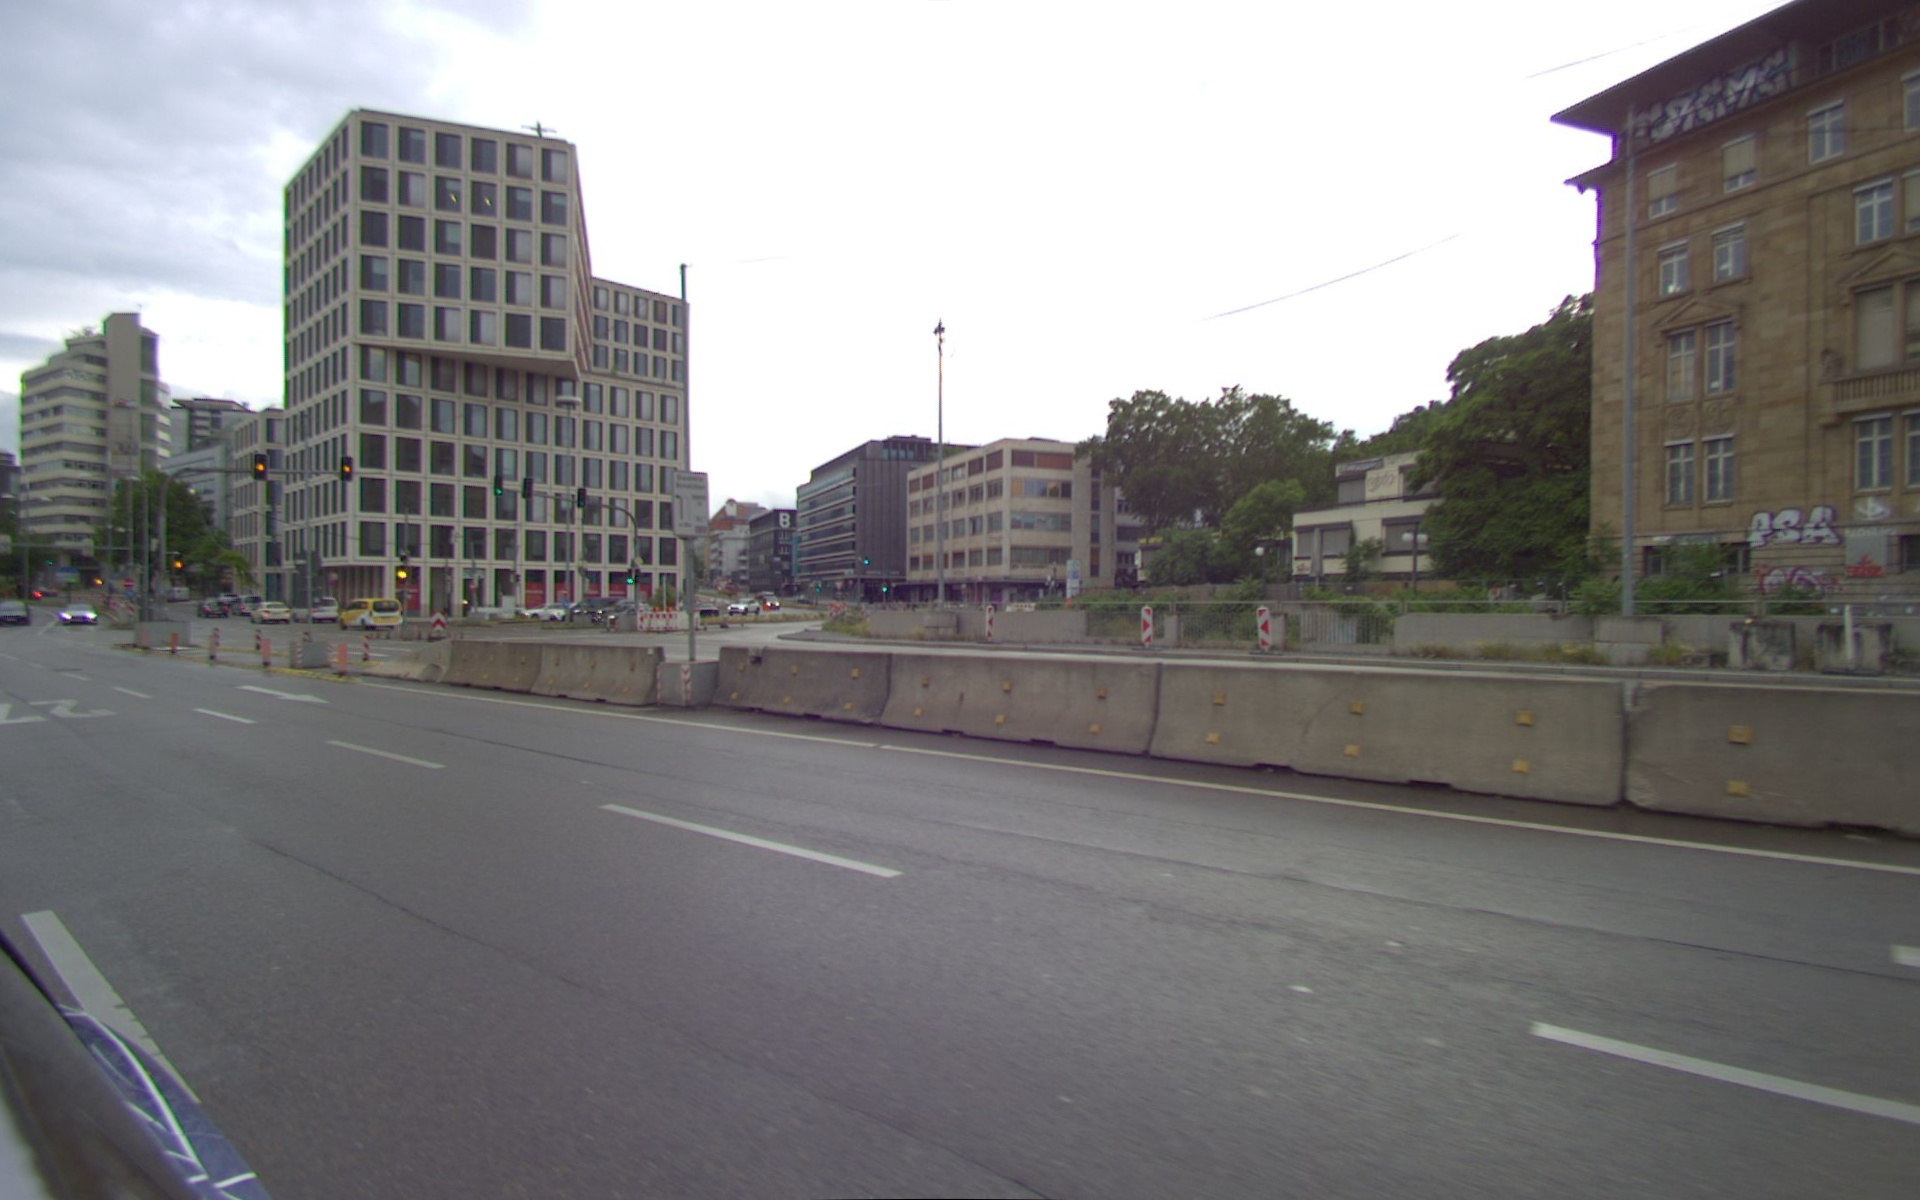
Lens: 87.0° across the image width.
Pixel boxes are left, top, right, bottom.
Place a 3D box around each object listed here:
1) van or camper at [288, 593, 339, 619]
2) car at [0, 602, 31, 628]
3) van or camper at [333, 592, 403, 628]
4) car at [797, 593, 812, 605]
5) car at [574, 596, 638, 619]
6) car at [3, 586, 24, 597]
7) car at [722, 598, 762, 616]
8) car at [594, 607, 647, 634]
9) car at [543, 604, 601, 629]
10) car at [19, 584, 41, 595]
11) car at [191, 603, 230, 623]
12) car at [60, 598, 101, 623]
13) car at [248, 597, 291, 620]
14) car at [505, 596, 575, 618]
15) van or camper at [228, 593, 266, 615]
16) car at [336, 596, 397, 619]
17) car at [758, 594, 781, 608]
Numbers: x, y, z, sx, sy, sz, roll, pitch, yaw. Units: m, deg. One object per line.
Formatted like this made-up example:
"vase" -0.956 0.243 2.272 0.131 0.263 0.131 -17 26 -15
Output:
"van or camper" -49.879 0.415 78.012 5.209 1.908 1.862 0 1 40
"car" -63.841 1.007 67.978 1.988 1.610 4.667 -1 1 -44
"van or camper" -35.979 0.586 61.468 5.609 2.070 2.214 0 1 44
"car" -24.894 -0.154 162.039 1.966 2.029 4.011 0 0 -14
"car" -24.936 0.499 71.428 1.831 1.497 3.956 0 1 32
"car" -140.529 -1.281 150.204 4.178 1.610 1.827 0 1 40
"car" -21.305 0.665 98.951 1.845 1.729 4.100 -1 0 22
"car" -22.955 1.367 68.558 1.679 1.710 3.985 0 0 12
"car" -30.788 1.283 80.315 1.805 1.829 3.945 1 2 41
"car" -133.654 -1.481 145.397 4.178 1.610 1.827 0 1 40
"car" -65.673 1.101 88.671 4.178 1.610 1.827 0 1 40
"car" -61.084 0.690 70.355 1.986 1.610 4.671 -1 1 -40
"car" -51.831 0.621 75.917 4.382 1.686 1.821 0 1 45
"car" -34.082 0.539 82.223 2.228 1.766 4.748 0 0 40
"van or camper" -65.591 0.335 93.030 4.253 1.993 1.827 0 1 40
"car" -47.083 0.580 80.360 3.930 1.741 1.744 0 0 -23
"car" -23.467 0.165 124.787 1.825 1.729 4.145 0 0 -24
